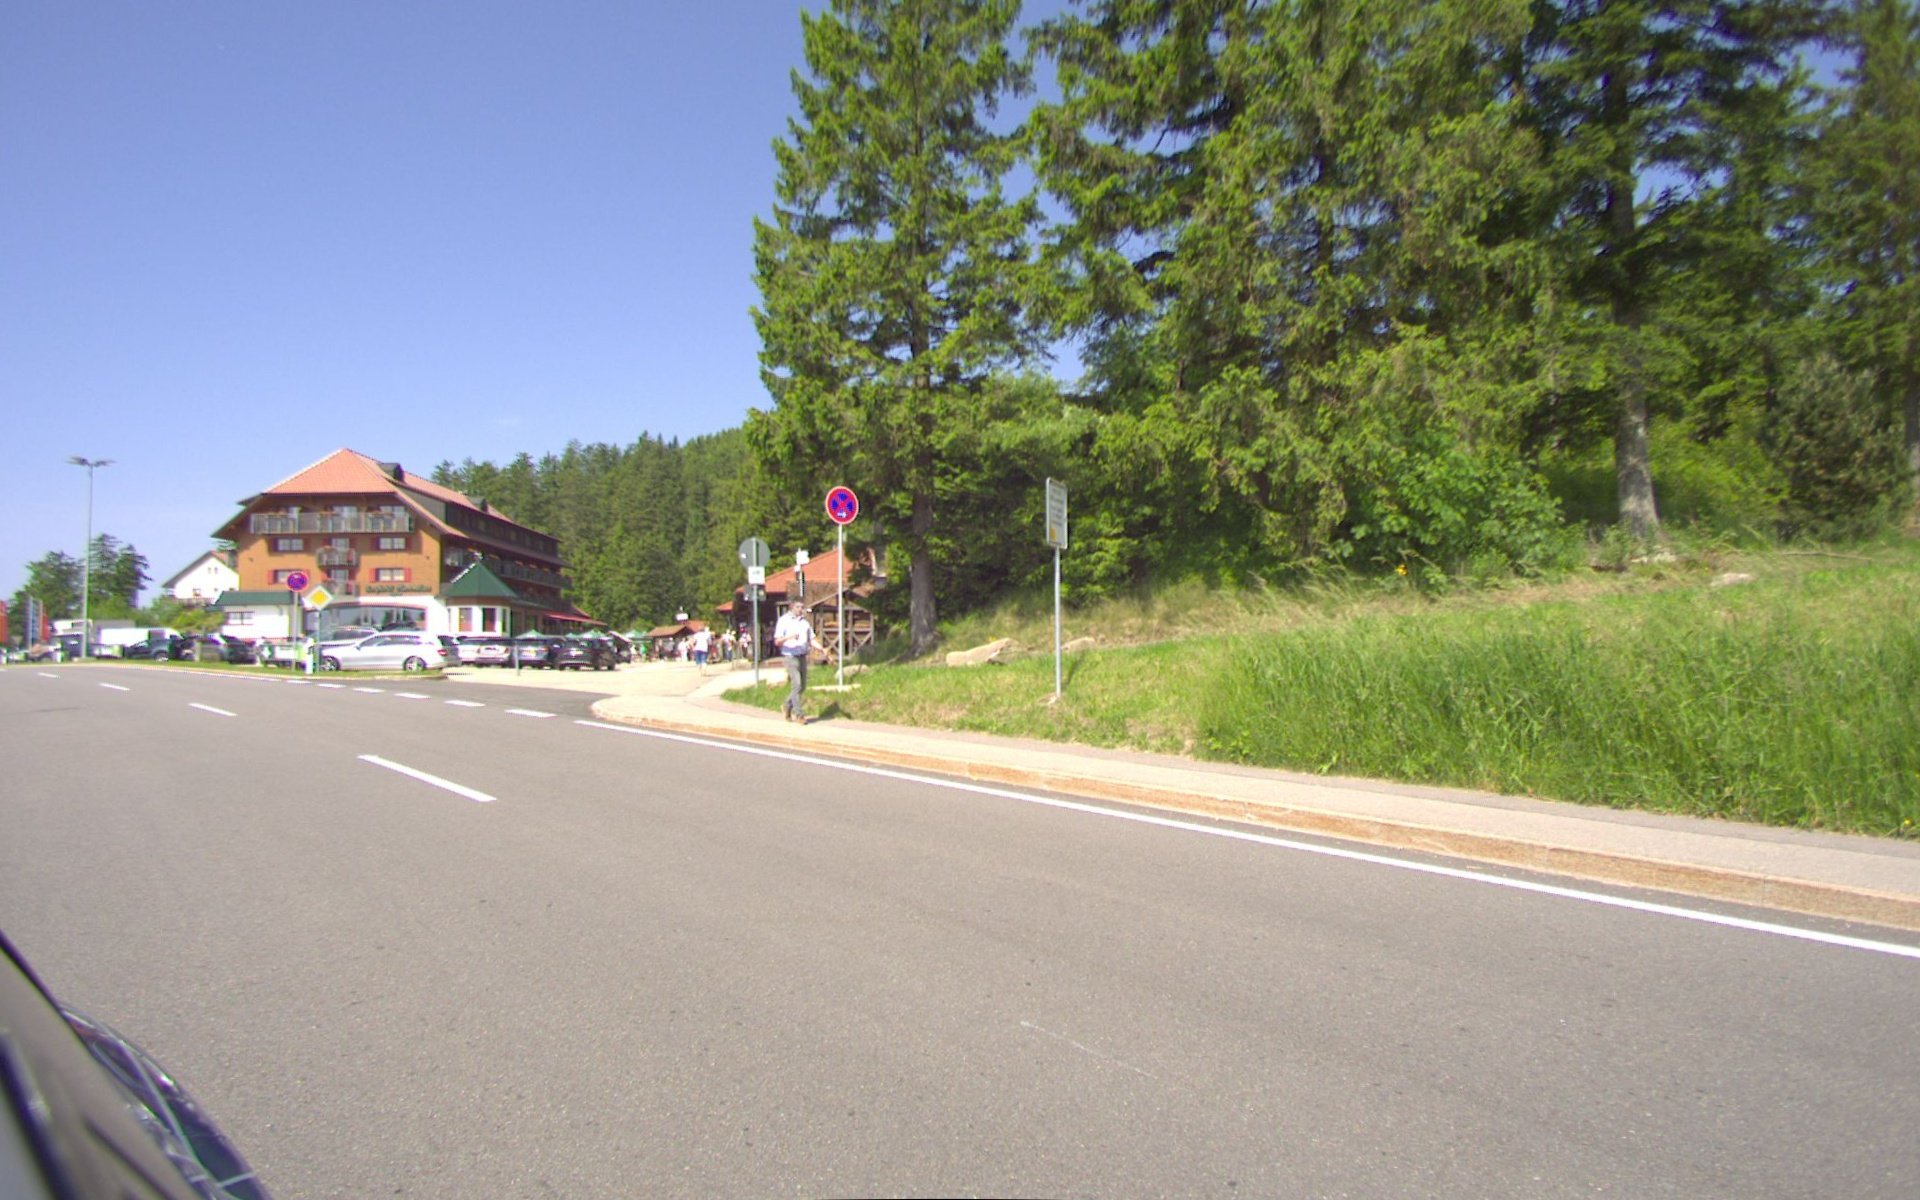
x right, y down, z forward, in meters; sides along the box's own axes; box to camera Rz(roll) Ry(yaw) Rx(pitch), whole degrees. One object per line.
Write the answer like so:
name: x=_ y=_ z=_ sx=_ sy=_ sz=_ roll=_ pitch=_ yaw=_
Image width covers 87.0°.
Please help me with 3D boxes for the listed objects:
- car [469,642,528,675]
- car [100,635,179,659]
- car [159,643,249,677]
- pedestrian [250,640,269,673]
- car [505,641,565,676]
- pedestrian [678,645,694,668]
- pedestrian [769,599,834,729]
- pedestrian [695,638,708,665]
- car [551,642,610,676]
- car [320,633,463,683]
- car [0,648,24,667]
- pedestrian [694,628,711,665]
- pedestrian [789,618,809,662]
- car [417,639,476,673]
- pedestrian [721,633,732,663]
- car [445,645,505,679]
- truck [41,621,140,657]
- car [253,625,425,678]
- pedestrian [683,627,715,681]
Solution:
car: x=-21.578 y=2.731 z=47.414 sx=1.615 sy=1.445 sz=3.321 roll=-1 pitch=-3 yaw=-8
car: x=-69.613 y=3.964 z=85.906 sx=5.173 sy=1.920 sz=2.003 roll=0 pitch=-2 yaw=-40
car: x=-38.440 y=3.030 z=51.532 sx=3.287 sy=1.604 sz=1.716 roll=-1 pitch=-2 yaw=-1
pedestrian: x=-37.379 y=3.005 z=54.001 sx=0.768 sy=1.712 sz=0.684 roll=1 pitch=-2 yaw=-42
car: x=-18.990 y=2.602 z=45.325 sx=1.691 sy=1.445 sz=3.321 roll=-1 pitch=-3 yaw=-8
pedestrian: x=-18.539 y=3.823 z=68.452 sx=0.971 sy=1.507 sz=0.892 roll=0 pitch=-2 yaw=-17
pedestrian: x=-2.202 y=0.871 z=14.058 sx=0.687 sy=1.754 sz=0.573 roll=-2 pitch=-2 yaw=42
pedestrian: x=-16.288 y=3.265 z=63.810 sx=0.675 sy=1.687 sz=0.532 roll=-1 pitch=-2 yaw=7
car: x=-16.460 y=2.556 z=44.036 sx=1.686 sy=1.406 sz=3.321 roll=-1 pitch=-3 yaw=-8
car: x=-19.280 y=1.939 z=34.472 sx=3.900 sy=1.600 sz=1.793 roll=-1 pitch=-2 yaw=-8
car: x=-74.776 y=4.441 z=77.592 sx=1.990 sy=1.421 sz=3.963 roll=-1 pitch=-1 yaw=27
pedestrian: x=-11.897 y=2.145 z=46.775 sx=0.759 sy=1.679 sz=0.892 roll=0 pitch=-2 yaw=-16
pedestrian: x=-7.582 y=1.856 z=47.589 sx=0.883 sy=2.029 sz=0.789 roll=-1 pitch=-1 yaw=-7
car: x=-26.189 y=2.824 z=51.705 sx=1.689 sy=1.564 sz=3.138 roll=-1 pitch=-1 yaw=-5
pedestrian: x=-12.774 y=2.639 z=55.373 sx=0.514 sy=1.635 sz=0.538 roll=0 pitch=-2 yaw=-10
car: x=-23.836 y=3.022 z=49.812 sx=1.704 sy=1.476 sz=3.527 roll=-1 pitch=-1 yaw=-9
truck: x=-76.370 y=3.369 z=89.137 sx=2.823 sy=2.851 sz=8.782 roll=-1 pitch=-1 yaw=-12
car: x=-23.784 y=1.945 z=38.974 sx=5.275 sy=1.884 sz=2.005 roll=0 pitch=-2 yaw=-13
pedestrian: x=-8.680 y=1.779 z=33.684 sx=0.900 sy=1.754 sz=0.637 roll=-1 pitch=-2 yaw=-1
